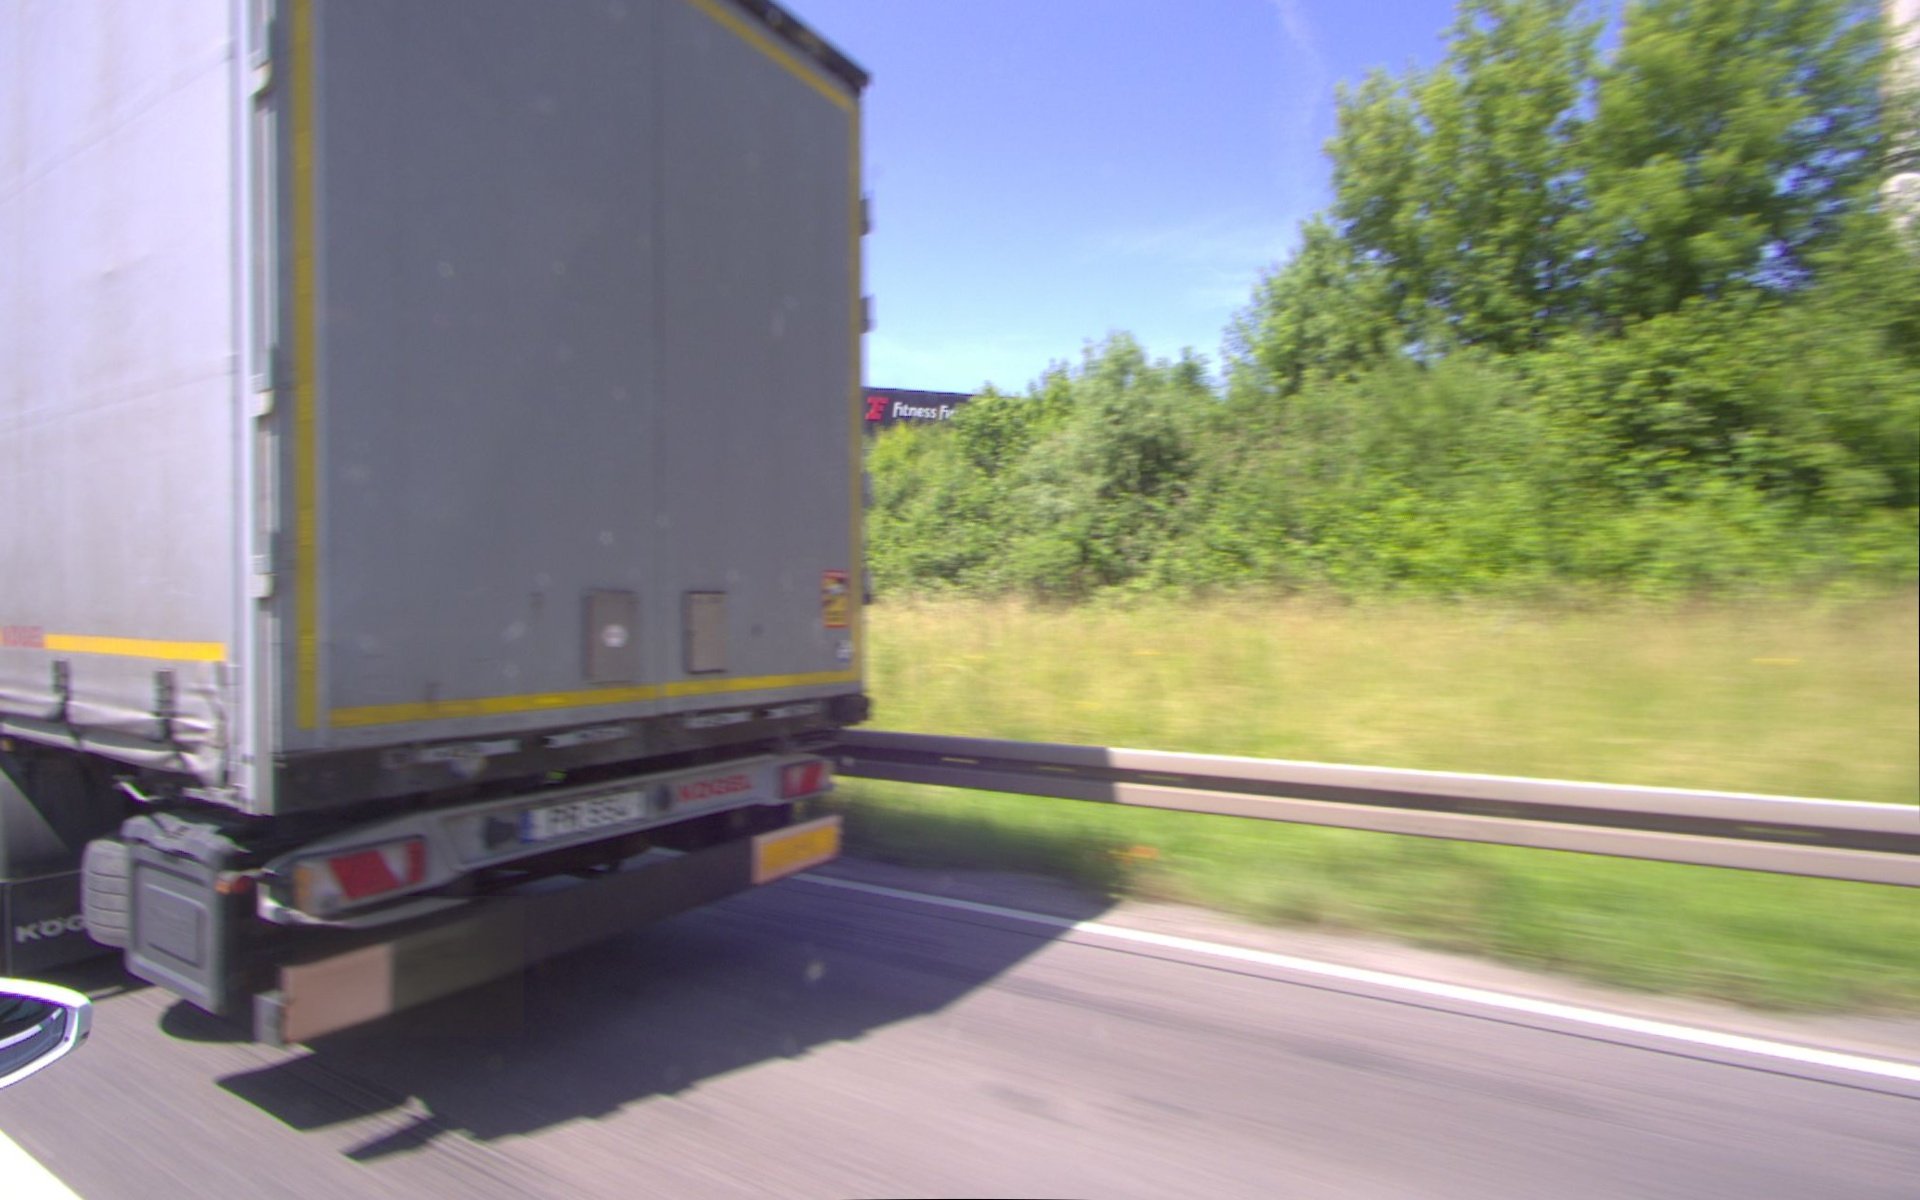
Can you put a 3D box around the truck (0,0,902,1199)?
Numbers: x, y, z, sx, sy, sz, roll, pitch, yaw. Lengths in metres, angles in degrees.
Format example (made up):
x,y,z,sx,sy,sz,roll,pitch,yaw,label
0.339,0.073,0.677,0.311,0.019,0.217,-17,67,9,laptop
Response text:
x,y,z,sx,sy,sz,roll,pitch,yaw,label
-7.955,-0.383,7.955,16.420,4.698,2.750,-2,-1,32,truck
